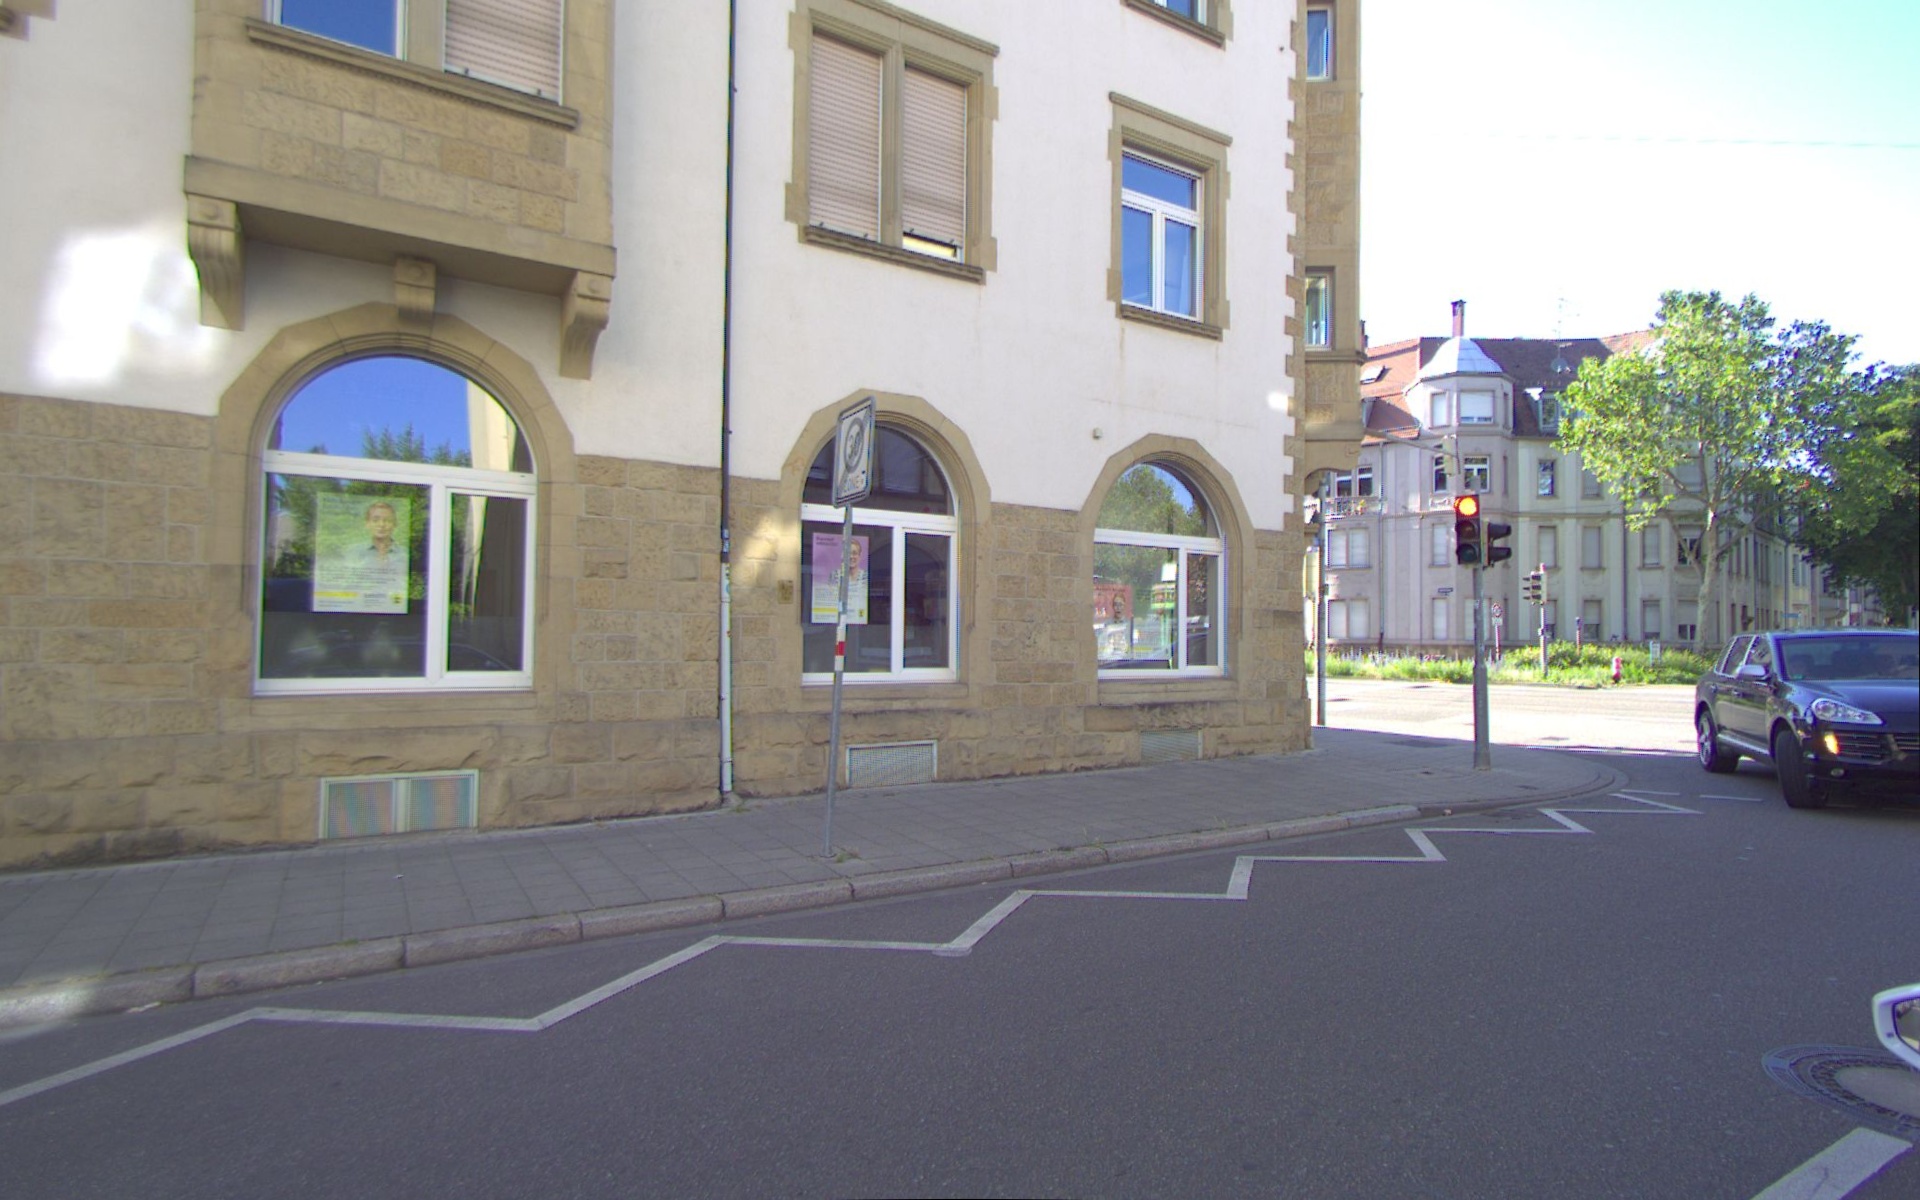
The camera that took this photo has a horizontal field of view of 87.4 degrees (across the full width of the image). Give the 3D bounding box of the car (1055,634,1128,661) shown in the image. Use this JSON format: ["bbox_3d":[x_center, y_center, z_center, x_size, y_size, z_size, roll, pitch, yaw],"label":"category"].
[{"bbox_3d":[7.251,2.624,55.622,3.737,1.419,1.638,-1,-2,41],"label":"car"}]

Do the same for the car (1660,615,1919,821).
[{"bbox_3d":[9.175,1.088,10.453,2.039,1.716,4.708,-2,-3,22],"label":"car"}]

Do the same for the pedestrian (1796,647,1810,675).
[{"bbox_3d":[44.987,3.251,53.608,0.483,1.461,0.701,2,0,45],"label":"pedestrian"}]

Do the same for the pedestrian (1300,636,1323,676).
[{"bbox_3d":[18.083,2.874,51.686,0.826,2.040,0.748,2,0,44],"label":"pedestrian"}]

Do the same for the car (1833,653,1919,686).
[{"bbox_3d":[45.457,3.407,49.505,1.647,1.476,3.595,2,-2,-44],"label":"car"}]
